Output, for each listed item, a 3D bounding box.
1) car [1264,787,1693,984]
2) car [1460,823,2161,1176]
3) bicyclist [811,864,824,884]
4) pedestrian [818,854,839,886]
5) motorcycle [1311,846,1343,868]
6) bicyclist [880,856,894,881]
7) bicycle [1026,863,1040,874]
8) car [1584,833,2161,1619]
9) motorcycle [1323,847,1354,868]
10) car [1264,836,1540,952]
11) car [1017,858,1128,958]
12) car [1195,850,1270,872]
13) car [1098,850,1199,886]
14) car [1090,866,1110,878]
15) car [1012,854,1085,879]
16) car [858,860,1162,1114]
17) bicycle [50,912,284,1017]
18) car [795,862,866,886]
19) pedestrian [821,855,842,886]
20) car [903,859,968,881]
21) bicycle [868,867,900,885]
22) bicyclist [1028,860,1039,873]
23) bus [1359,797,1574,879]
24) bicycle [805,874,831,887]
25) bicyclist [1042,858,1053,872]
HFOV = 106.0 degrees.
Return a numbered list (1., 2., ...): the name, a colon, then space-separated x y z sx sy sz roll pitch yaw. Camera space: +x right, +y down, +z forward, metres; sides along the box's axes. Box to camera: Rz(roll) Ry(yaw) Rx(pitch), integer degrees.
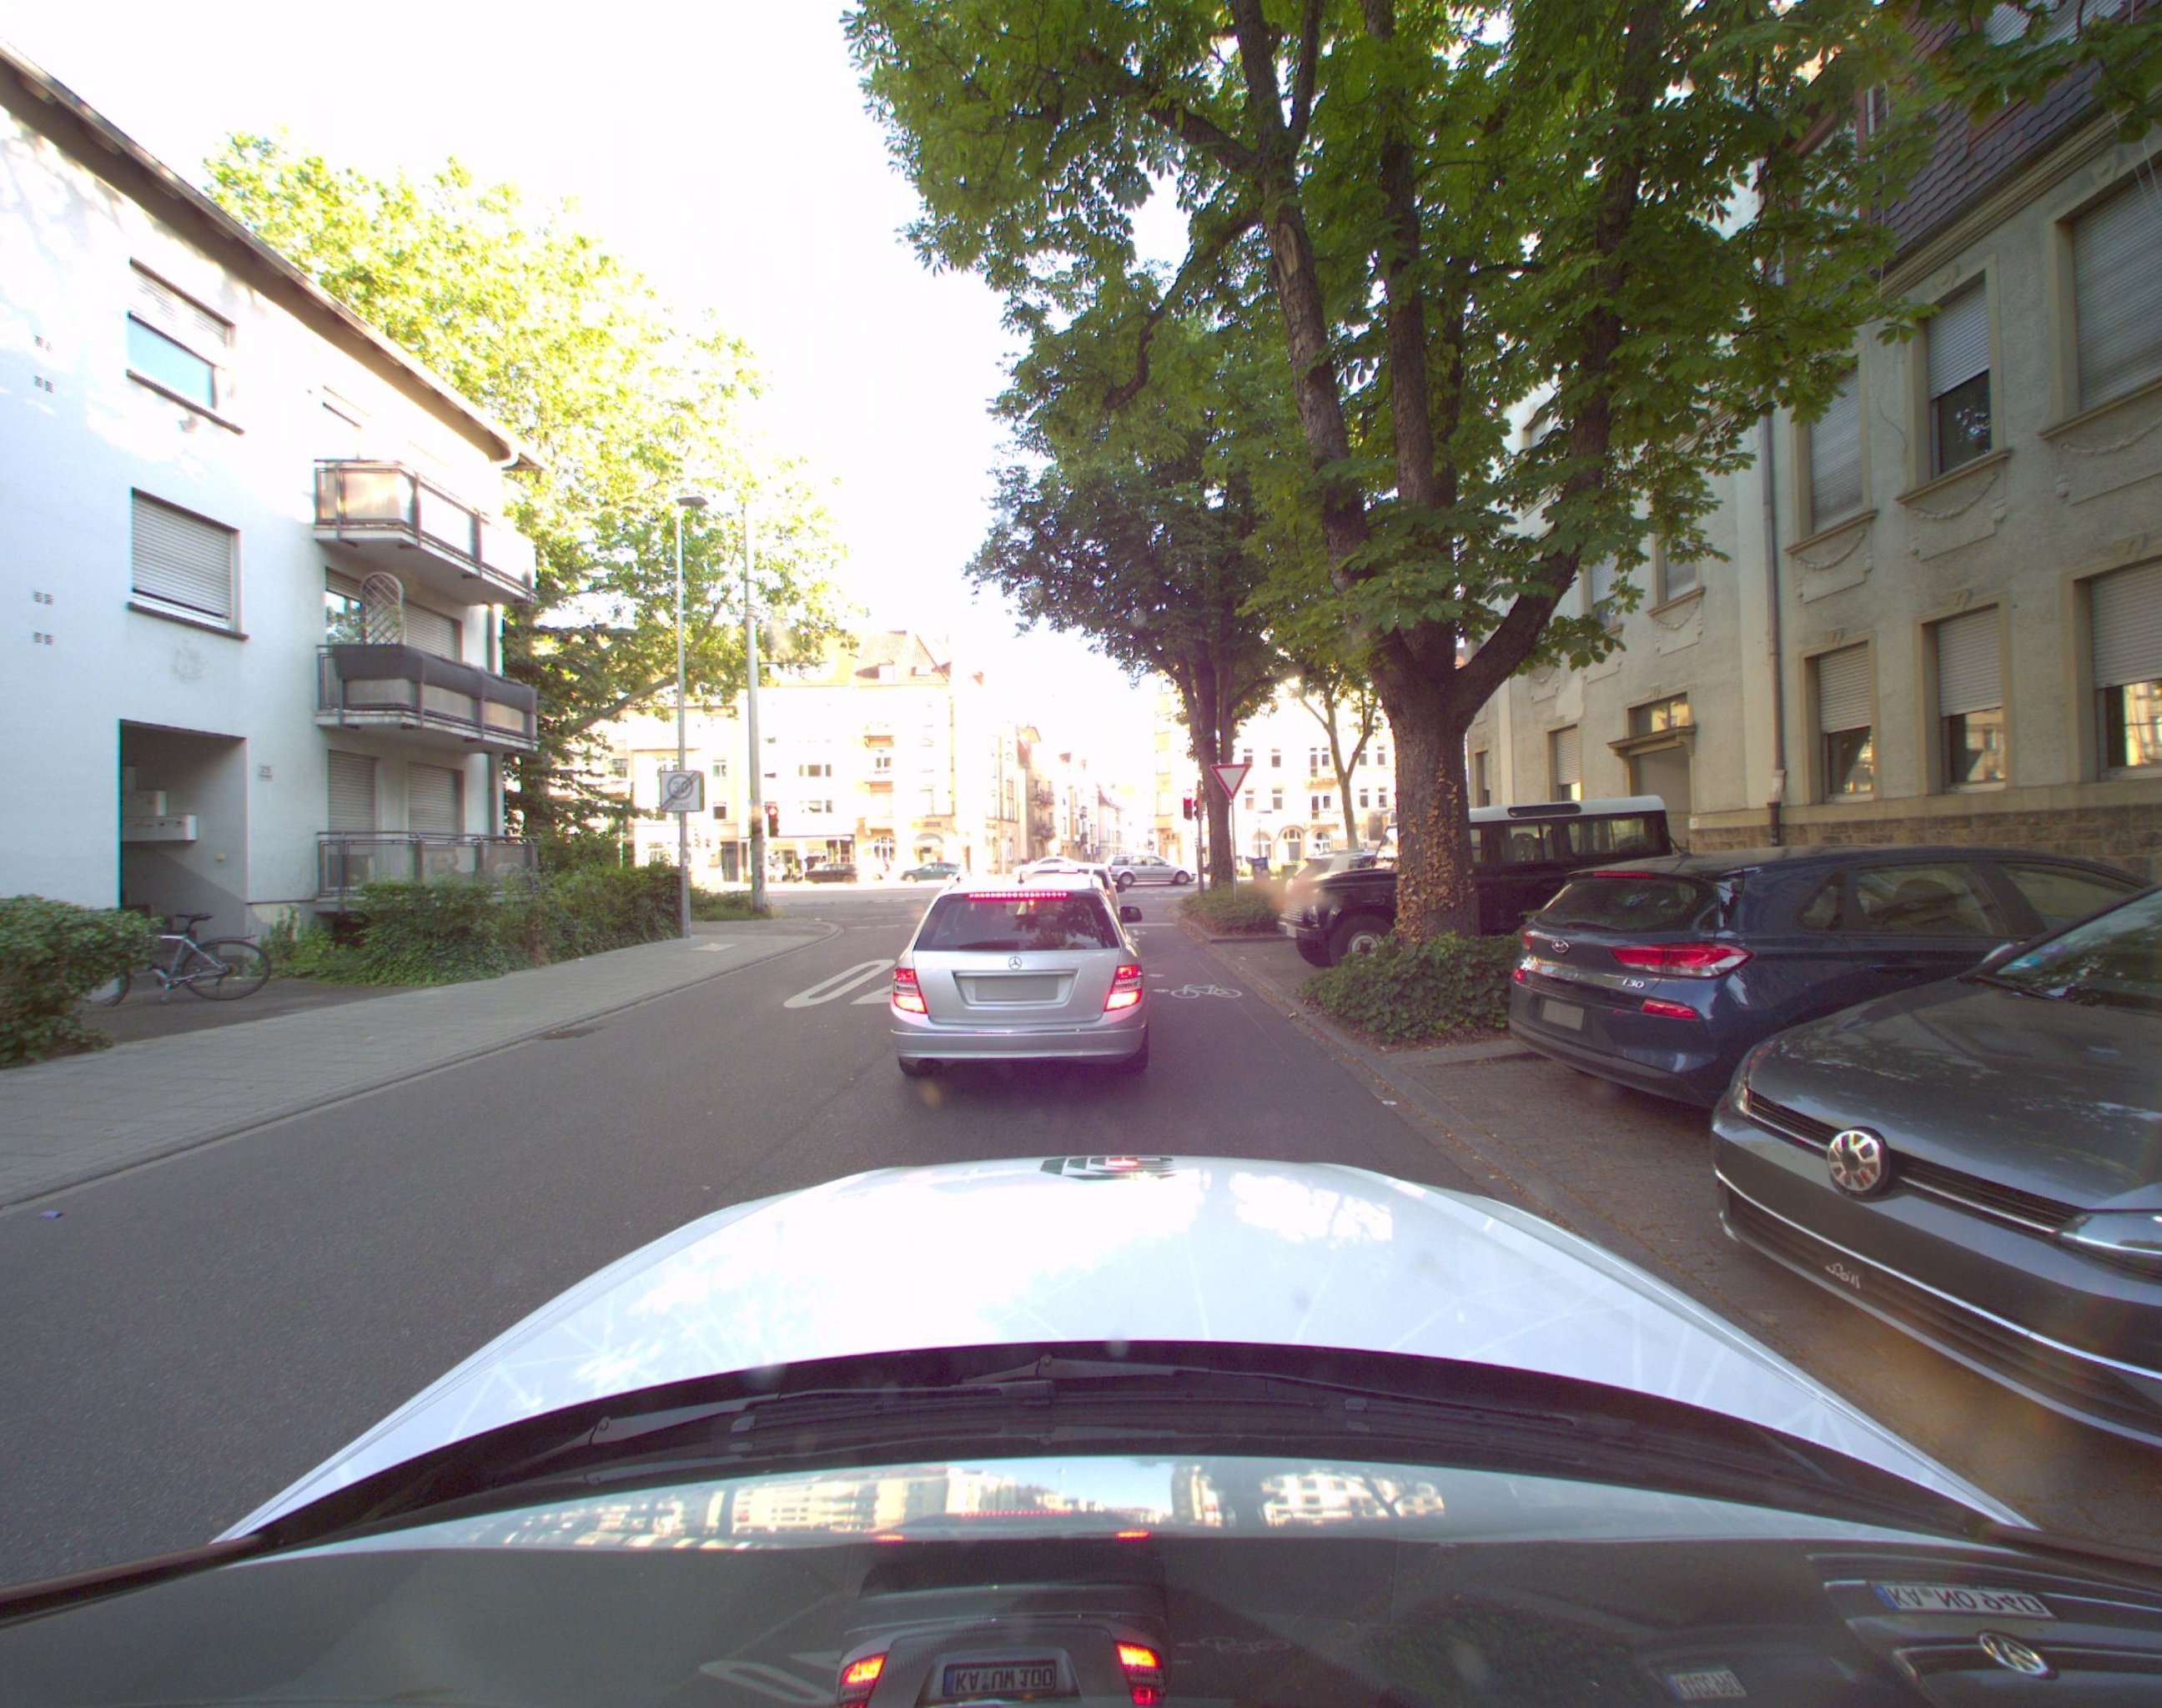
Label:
1. car: 4.734 0.361 10.125 4.453 2.036 1.700 -3 -1 -2
2. car: 4.391 0.630 4.551 3.714 1.452 1.707 -3 -1 -2
3. bicyclist: -18.711 1.431 57.847 0.642 1.426 0.636 -1 0 -3
4. pedestrian: -20.004 1.273 64.486 1.343 2.464 1.059 -1 0 -3
5. motorcycle: 17.261 0.231 57.222 2.028 1.452 0.568 -2 0 -3
6. bicyclist: -14.511 1.105 60.924 0.889 1.859 0.636 -1 0 -3
7. bicycle: -4.326 1.320 73.643 0.765 0.940 1.947 -1 0 13
8. car: 4.026 0.647 2.379 4.042 1.452 1.722 -3 -1 -2
9. motorcycle: 18.469 0.227 58.406 2.028 1.452 0.568 -2 0 -3
10. car: 5.024 0.610 13.084 3.714 1.570 1.707 -3 -1 -2
11. car: -0.114 0.811 14.167 1.614 1.447 4.344 -1 0 0
12. car: 10.679 0.480 57.572 4.871 1.452 1.857 -1 0 -2
13. car: 3.039 0.613 37.002 4.338 1.497 1.658 -2 0 -5
14. car: 2.397 2.220 102.630 1.824 1.402 4.012 -1 0 10
15. car: -2.166 0.808 53.901 4.694 1.460 1.834 -2 0 -4
16. car: -0.409 0.797 7.079 1.771 1.452 4.547 -1 0 0
17. bicycle: -10.000 1.174 9.004 1.630 1.008 0.511 2 -2 -39
18. car: -16.035 1.248 52.239 4.026 1.360 1.661 -2 0 -4
19. pedestrian: -20.105 1.292 65.580 1.343 2.464 1.059 -1 0 -3
20. car: -10.042 1.102 56.383 4.212 1.349 1.662 -1 0 -4
21. bicycle: -14.718 1.646 60.905 2.251 1.246 0.636 -1 0 -3
22. bicyclist: -4.309 1.098 73.722 0.765 1.156 0.755 -1 0 13
23. bus: 16.808 -0.690 35.762 8.166 3.201 2.905 -2 0 -7
24. bicycle: -18.666 1.872 57.842 1.613 0.876 0.636 -1 0 -4
25. bicyclist: -3.009 1.008 73.701 0.765 1.290 0.755 -1 0 13
